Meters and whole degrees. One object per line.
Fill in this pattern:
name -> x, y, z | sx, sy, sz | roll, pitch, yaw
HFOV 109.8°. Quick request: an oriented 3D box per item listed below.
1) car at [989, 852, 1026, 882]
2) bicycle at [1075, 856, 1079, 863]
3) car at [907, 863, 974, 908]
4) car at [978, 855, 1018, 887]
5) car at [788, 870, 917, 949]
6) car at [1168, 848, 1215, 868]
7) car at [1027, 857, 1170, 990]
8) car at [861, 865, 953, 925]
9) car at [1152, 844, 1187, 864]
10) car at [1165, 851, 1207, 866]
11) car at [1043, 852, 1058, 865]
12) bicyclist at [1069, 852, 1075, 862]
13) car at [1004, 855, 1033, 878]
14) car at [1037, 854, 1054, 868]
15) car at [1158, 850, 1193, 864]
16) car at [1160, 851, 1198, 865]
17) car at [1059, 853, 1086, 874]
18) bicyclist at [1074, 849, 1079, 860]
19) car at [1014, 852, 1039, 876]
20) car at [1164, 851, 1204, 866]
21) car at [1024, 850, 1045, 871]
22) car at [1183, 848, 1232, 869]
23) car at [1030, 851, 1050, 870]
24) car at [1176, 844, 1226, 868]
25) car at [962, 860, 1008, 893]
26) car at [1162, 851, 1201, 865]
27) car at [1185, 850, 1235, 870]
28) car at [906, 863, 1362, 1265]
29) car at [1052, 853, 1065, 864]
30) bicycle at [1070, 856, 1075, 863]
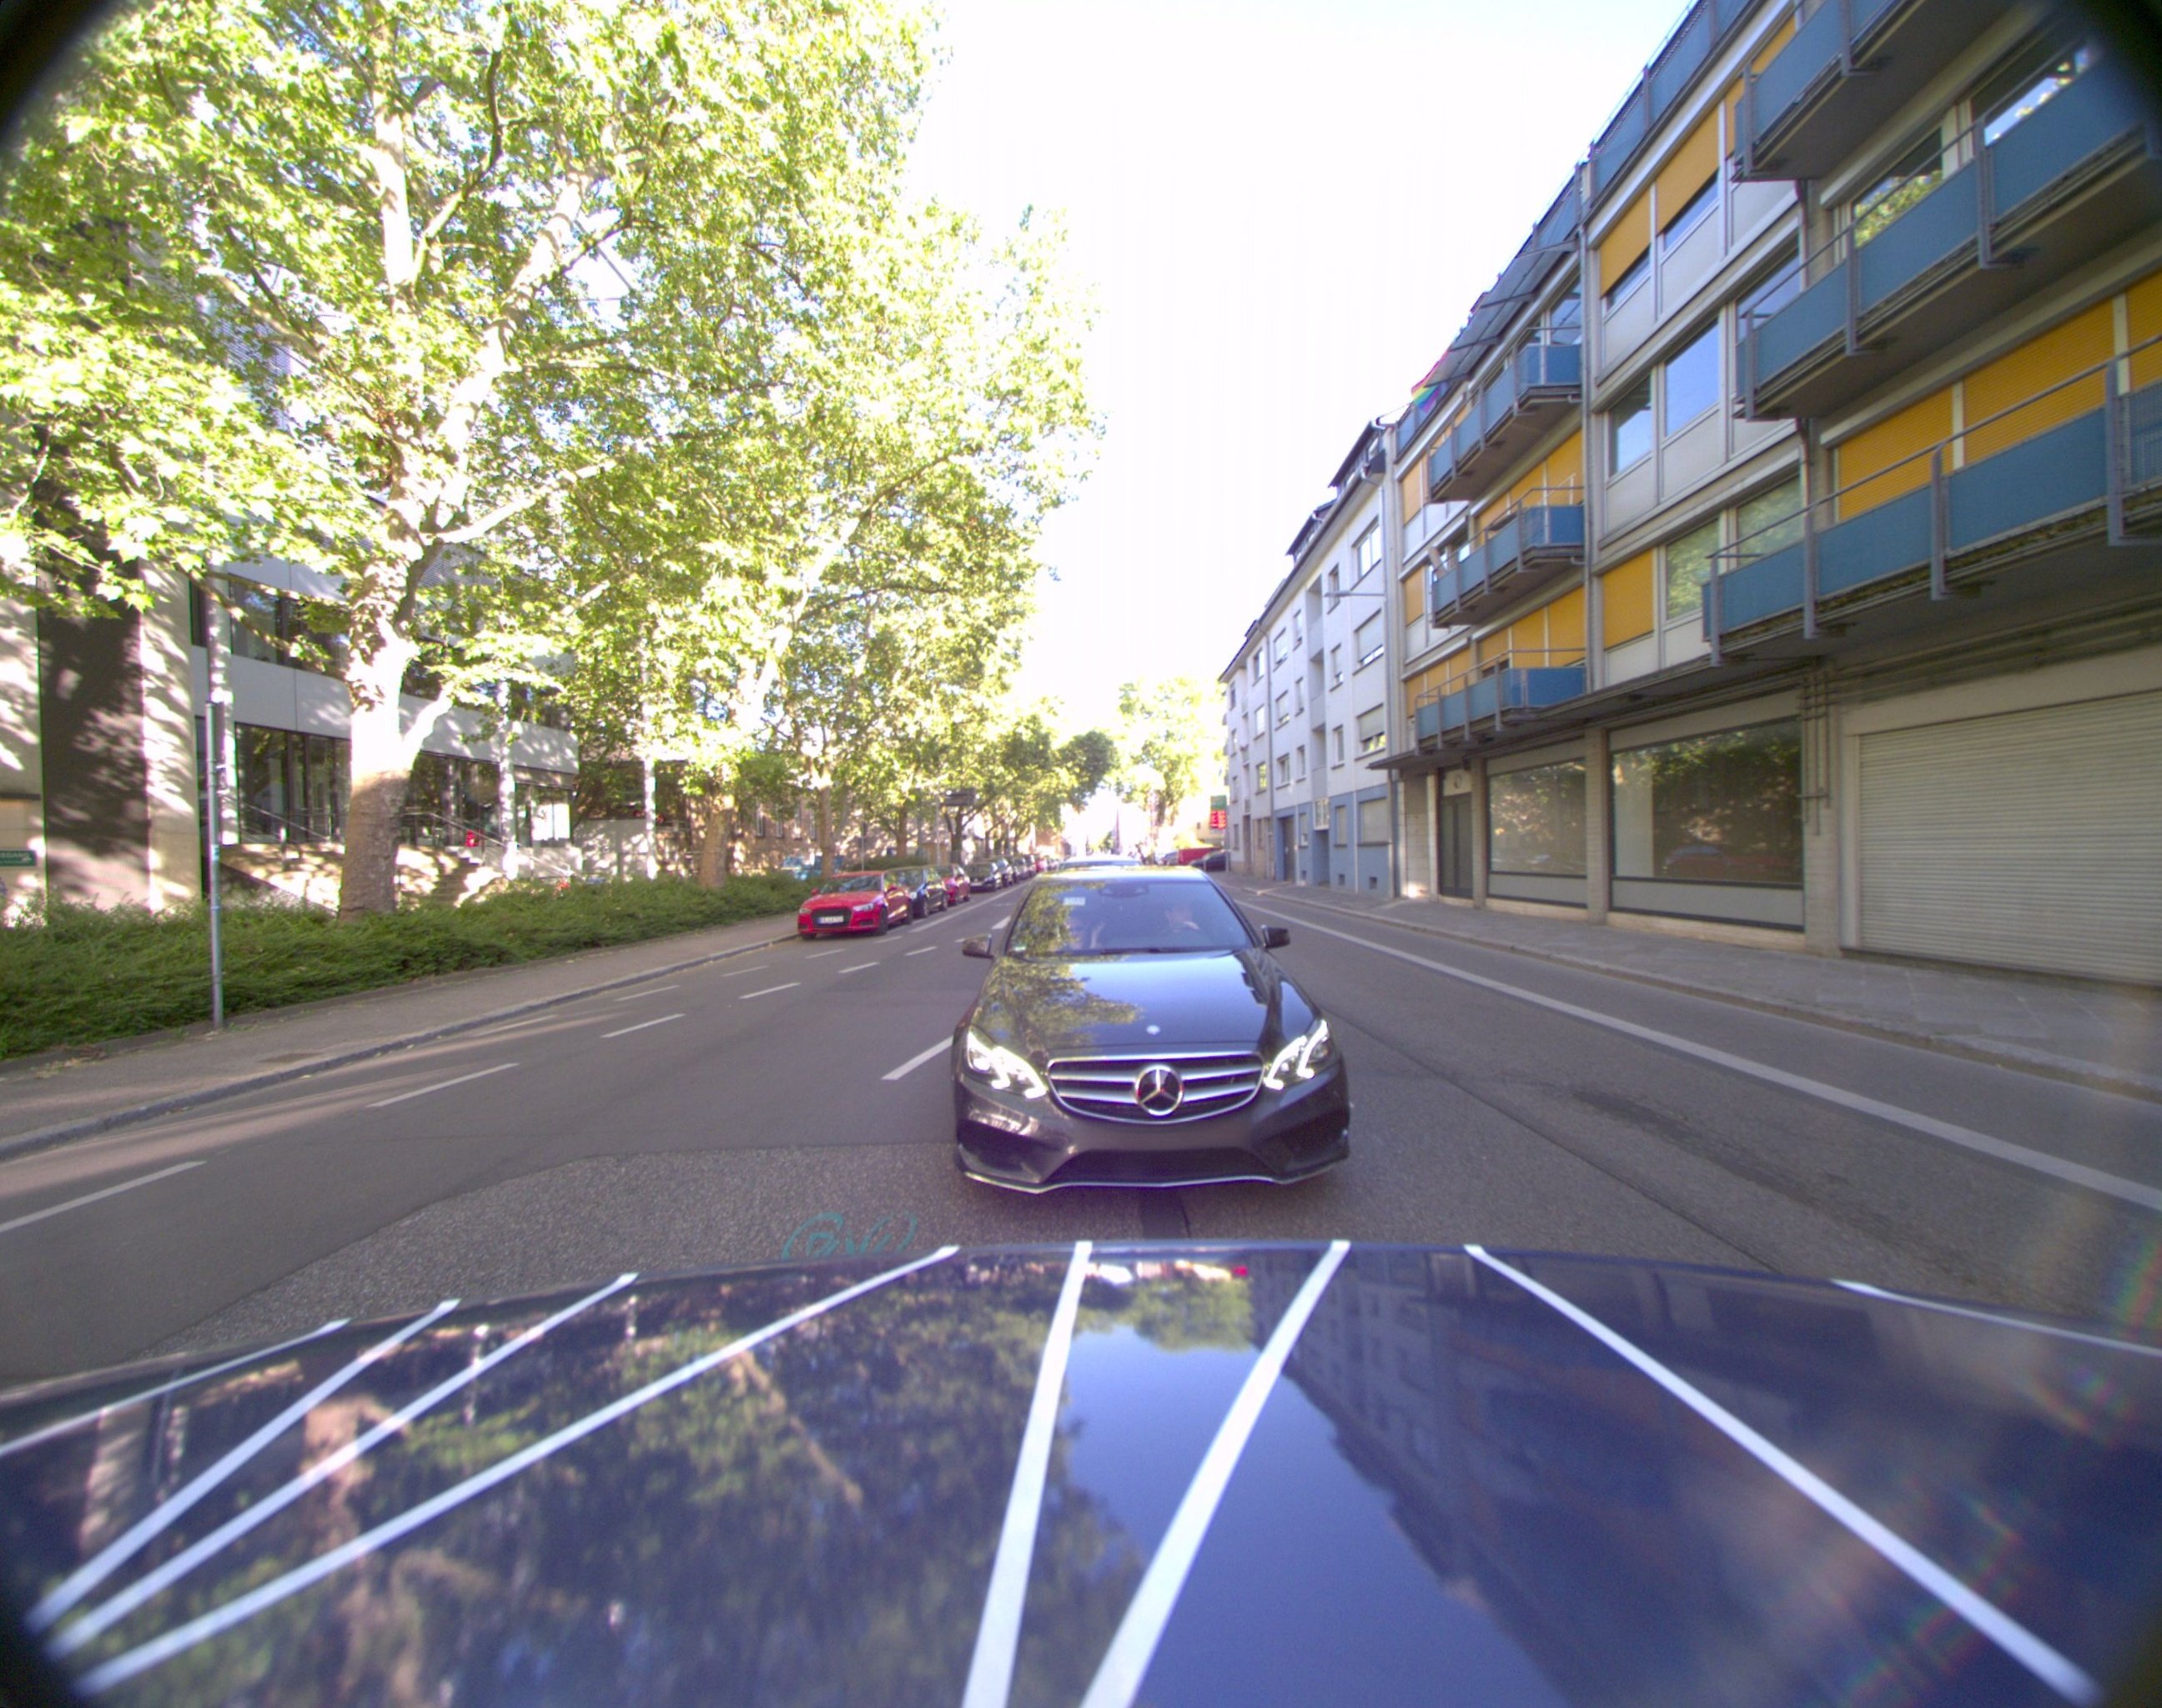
car -> -4.596, 0.771, 48.190 | 1.819, 1.758, 4.431 | -2, 0, 0
bicycle -> -0.650, 0.870, 122.412 | 0.667, 1.093, 1.814 | -2, 1, 0
car -> -5.009, 1.093, 27.605 | 1.666, 1.426, 3.781 | -2, 0, 0
car -> -4.538, 0.907, 42.064 | 1.686, 1.610, 3.836 | -2, 0, 0
car -> -5.130, 1.189, 17.636 | 1.724, 1.412, 4.030 | -4, 0, -1
car -> 9.713, 0.329, 66.776 | 3.905, 1.577, 1.603 | -2, 1, 2
car -> 0.206, 0.880, 11.660 | 1.732, 1.538, 4.293 | -2, 1, 0
car -> -5.012, 1.128, 22.420 | 1.686, 1.458, 4.000 | -3, 0, 0
car -> 10.397, 0.022, 89.310 | 3.905, 2.164, 1.725 | -2, 1, 2
car -> 10.369, 0.450, 74.967 | 3.905, 1.366, 1.594 | -2, 1, 2
car -> -3.795, 0.596, 95.687 | 1.686, 1.546, 3.836 | -2, 0, 0
bicyclist -> -1.402, 0.524, 119.393 | 0.756, 1.512, 0.768 | -2, 1, -1
car -> -4.427, 0.874, 54.513 | 1.686, 1.552, 3.868 | -2, 0, 0
car -> -4.056, 0.743, 87.064 | 1.639, 1.493, 3.752 | -2, 0, 0
car -> 10.537, 0.330, 84.817 | 3.782, 1.432, 1.539 | -2, 1, 2
car -> 10.526, 0.398, 82.132 | 3.905, 1.325, 1.525 | -2, 1, 2
car -> -0.640, 0.699, 58.389 | 1.693, 1.432, 3.902 | -3, 1, 3
bicyclist -> -0.682, 0.099, 122.423 | 0.756, 1.714, 0.768 | -2, 1, -1
car -> -4.219, 0.752, 59.370 | 1.663, 1.704, 3.836 | -2, 0, 0
car -> 10.401, 0.426, 76.989 | 3.905, 1.366, 1.594 | -2, 1, 2
car -> -4.255, 0.588, 70.227 | 1.646, 1.839, 3.836 | -2, 0, 0
car -> 10.126, 0.355, 61.137 | 3.668, 1.501, 1.602 | -2, 1, 2
car -> -4.101, 0.634, 76.018 | 1.686, 1.749, 3.836 | -2, 0, 0
car -> 10.072, 0.164, 63.981 | 3.905, 1.895, 1.749 | -2, 1, 2
car -> -4.666, 1.047, 37.405 | 1.686, 1.443, 4.000 | -2, 0, 0
car -> 10.516, 0.425, 79.744 | 3.905, 1.325, 1.525 | -2, 1, 2
car -> 9.957, 0.456, 58.732 | 3.598, 1.401, 1.534 | -2, 0, 2
car -> 0.214, 0.896, 5.284 | 1.828, 1.495, 4.293 | -2, 1, 0
car -> -3.134, 0.647, 106.829 | 1.686, 1.475, 3.836 | -2, 0, 0
bicycle -> -1.330, 0.902, 119.376 | 0.667, 1.093, 1.814 | -2, 1, 0
